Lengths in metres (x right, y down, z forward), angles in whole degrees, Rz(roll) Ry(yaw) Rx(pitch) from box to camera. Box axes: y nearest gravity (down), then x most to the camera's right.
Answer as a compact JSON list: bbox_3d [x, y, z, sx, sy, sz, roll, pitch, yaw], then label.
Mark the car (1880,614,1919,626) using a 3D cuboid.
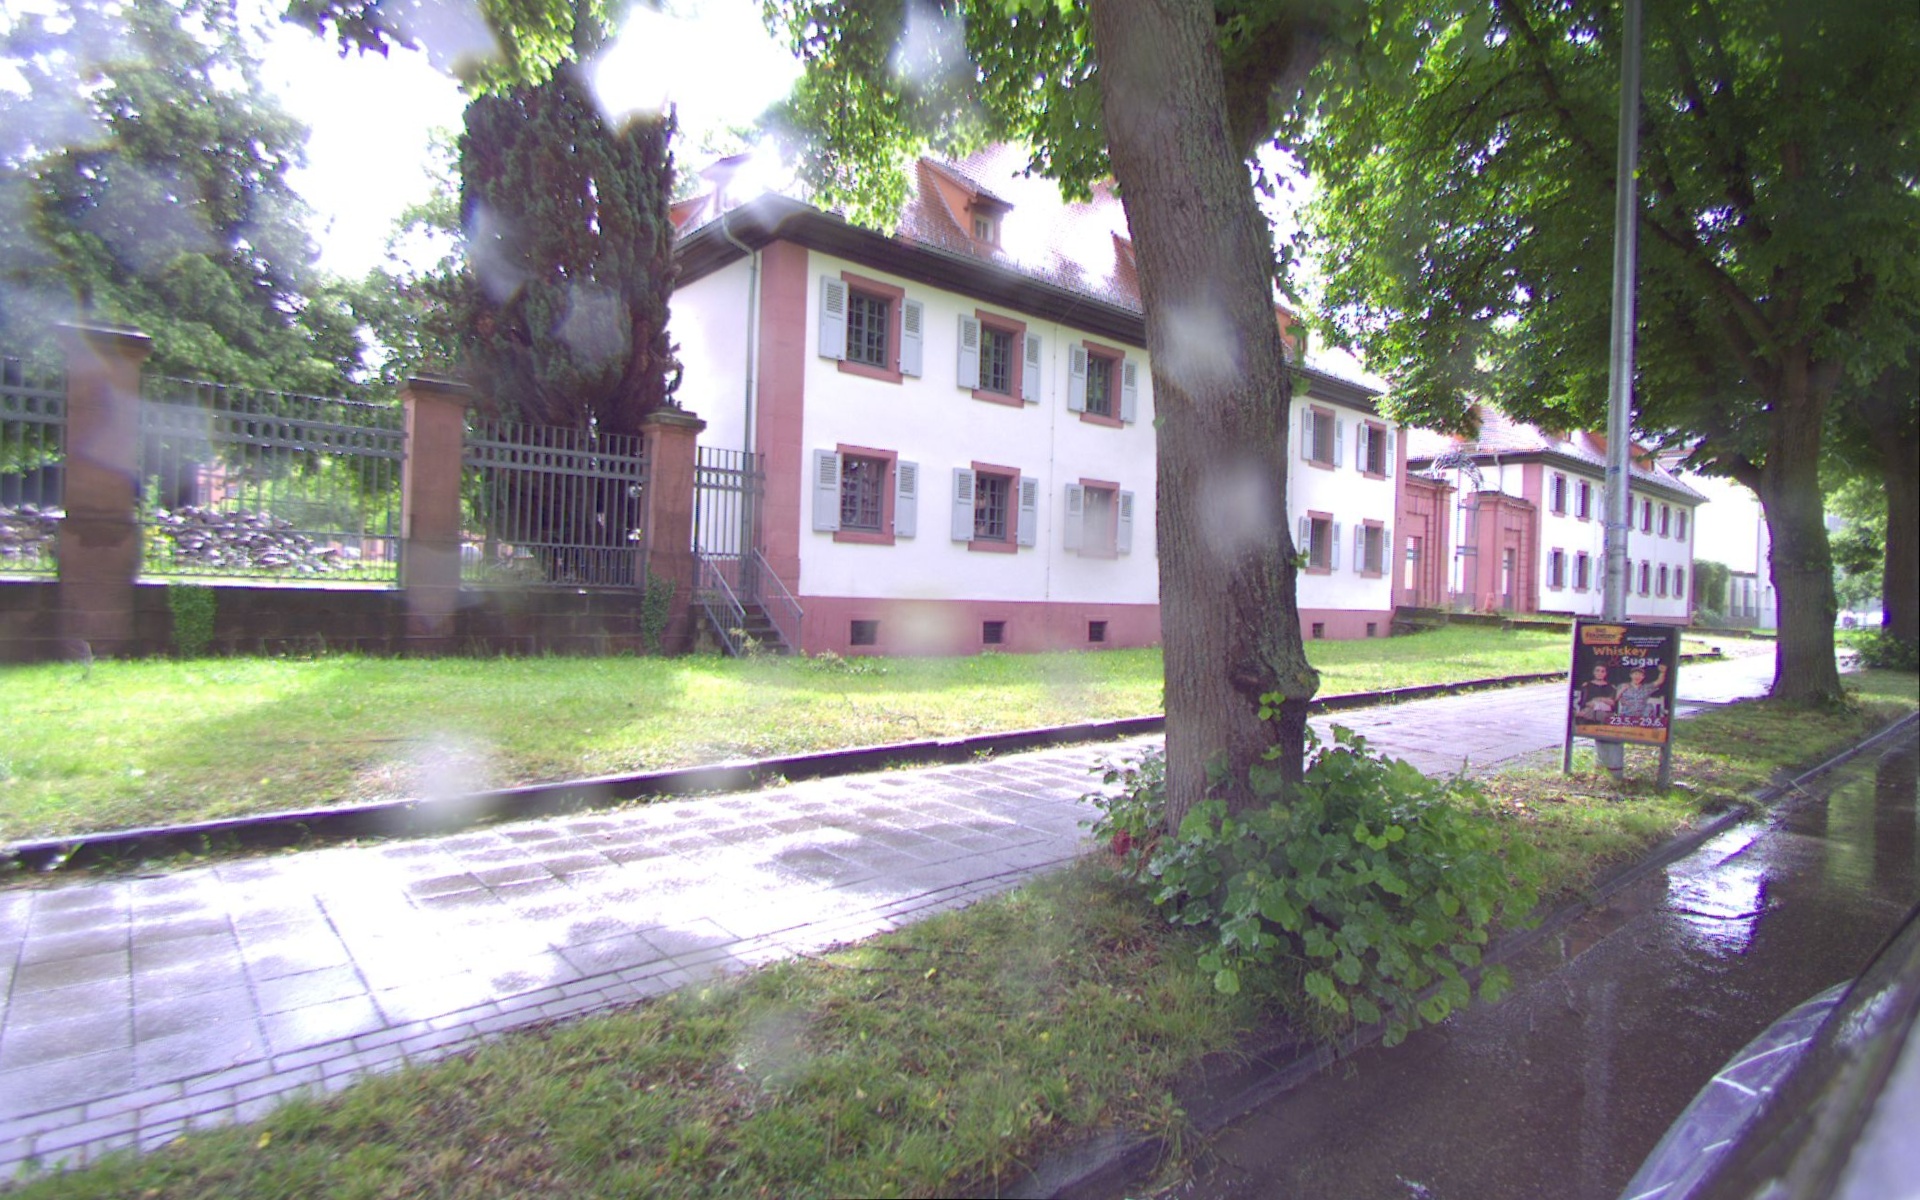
[{"bbox_3d":[107.965,2.278,115.929,1.462,1.252,3.467,2,1,-20],"label":"car"}]
